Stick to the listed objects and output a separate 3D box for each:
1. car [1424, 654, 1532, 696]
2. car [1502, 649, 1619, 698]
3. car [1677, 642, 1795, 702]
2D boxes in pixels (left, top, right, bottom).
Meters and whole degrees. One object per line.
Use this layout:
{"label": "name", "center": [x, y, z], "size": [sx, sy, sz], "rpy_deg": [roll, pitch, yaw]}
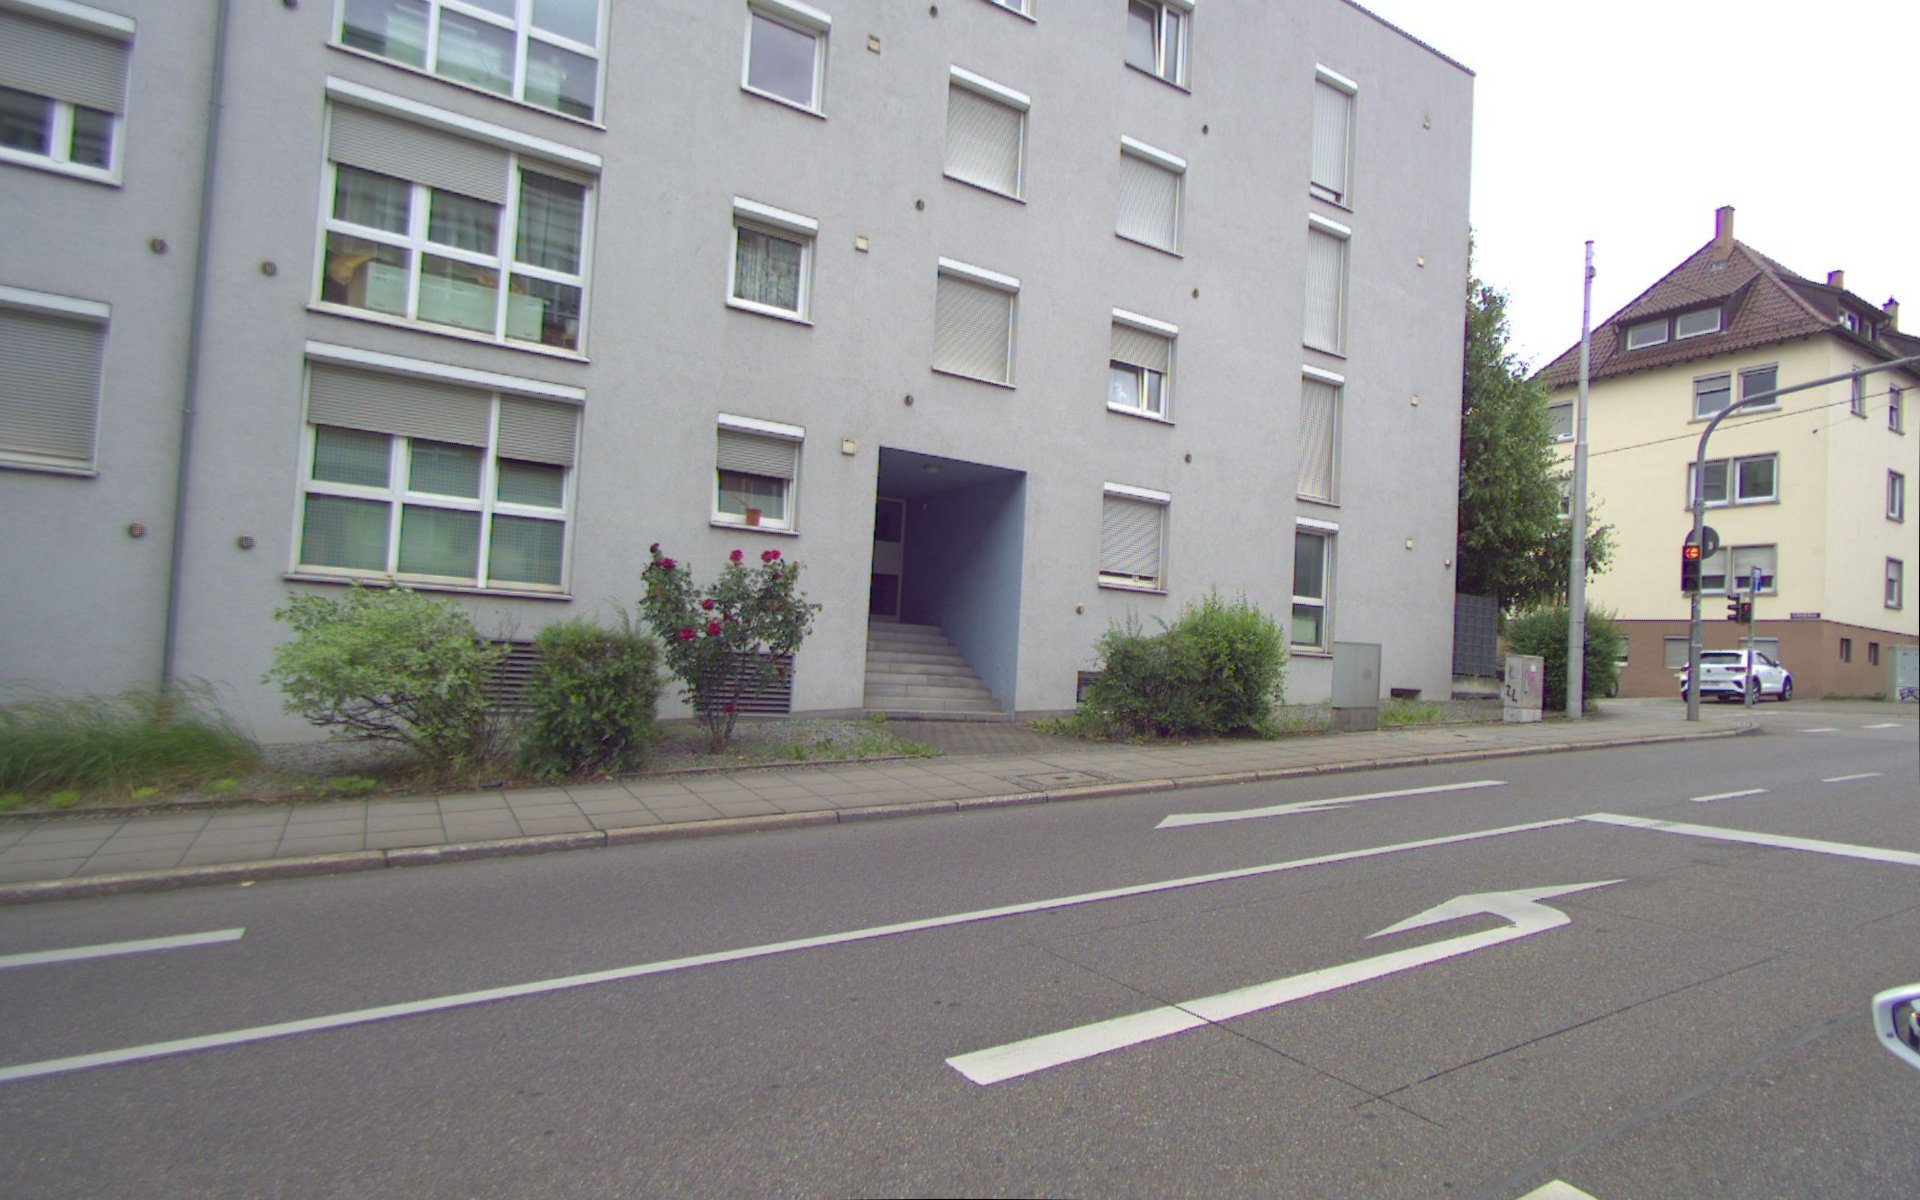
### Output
{"label": "car", "center": [18.980, 2.714, 36.751], "size": [3.953, 1.380, 1.662], "rpy_deg": [2, -1, -30]}
{"label": "car", "center": [20.599, 2.501, 34.435], "size": [4.053, 1.566, 1.662], "rpy_deg": [2, -4, -30]}
{"label": "car", "center": [23.308, 2.118, 30.125], "size": [3.960, 1.683, 1.660], "rpy_deg": [2, -4, -35]}
